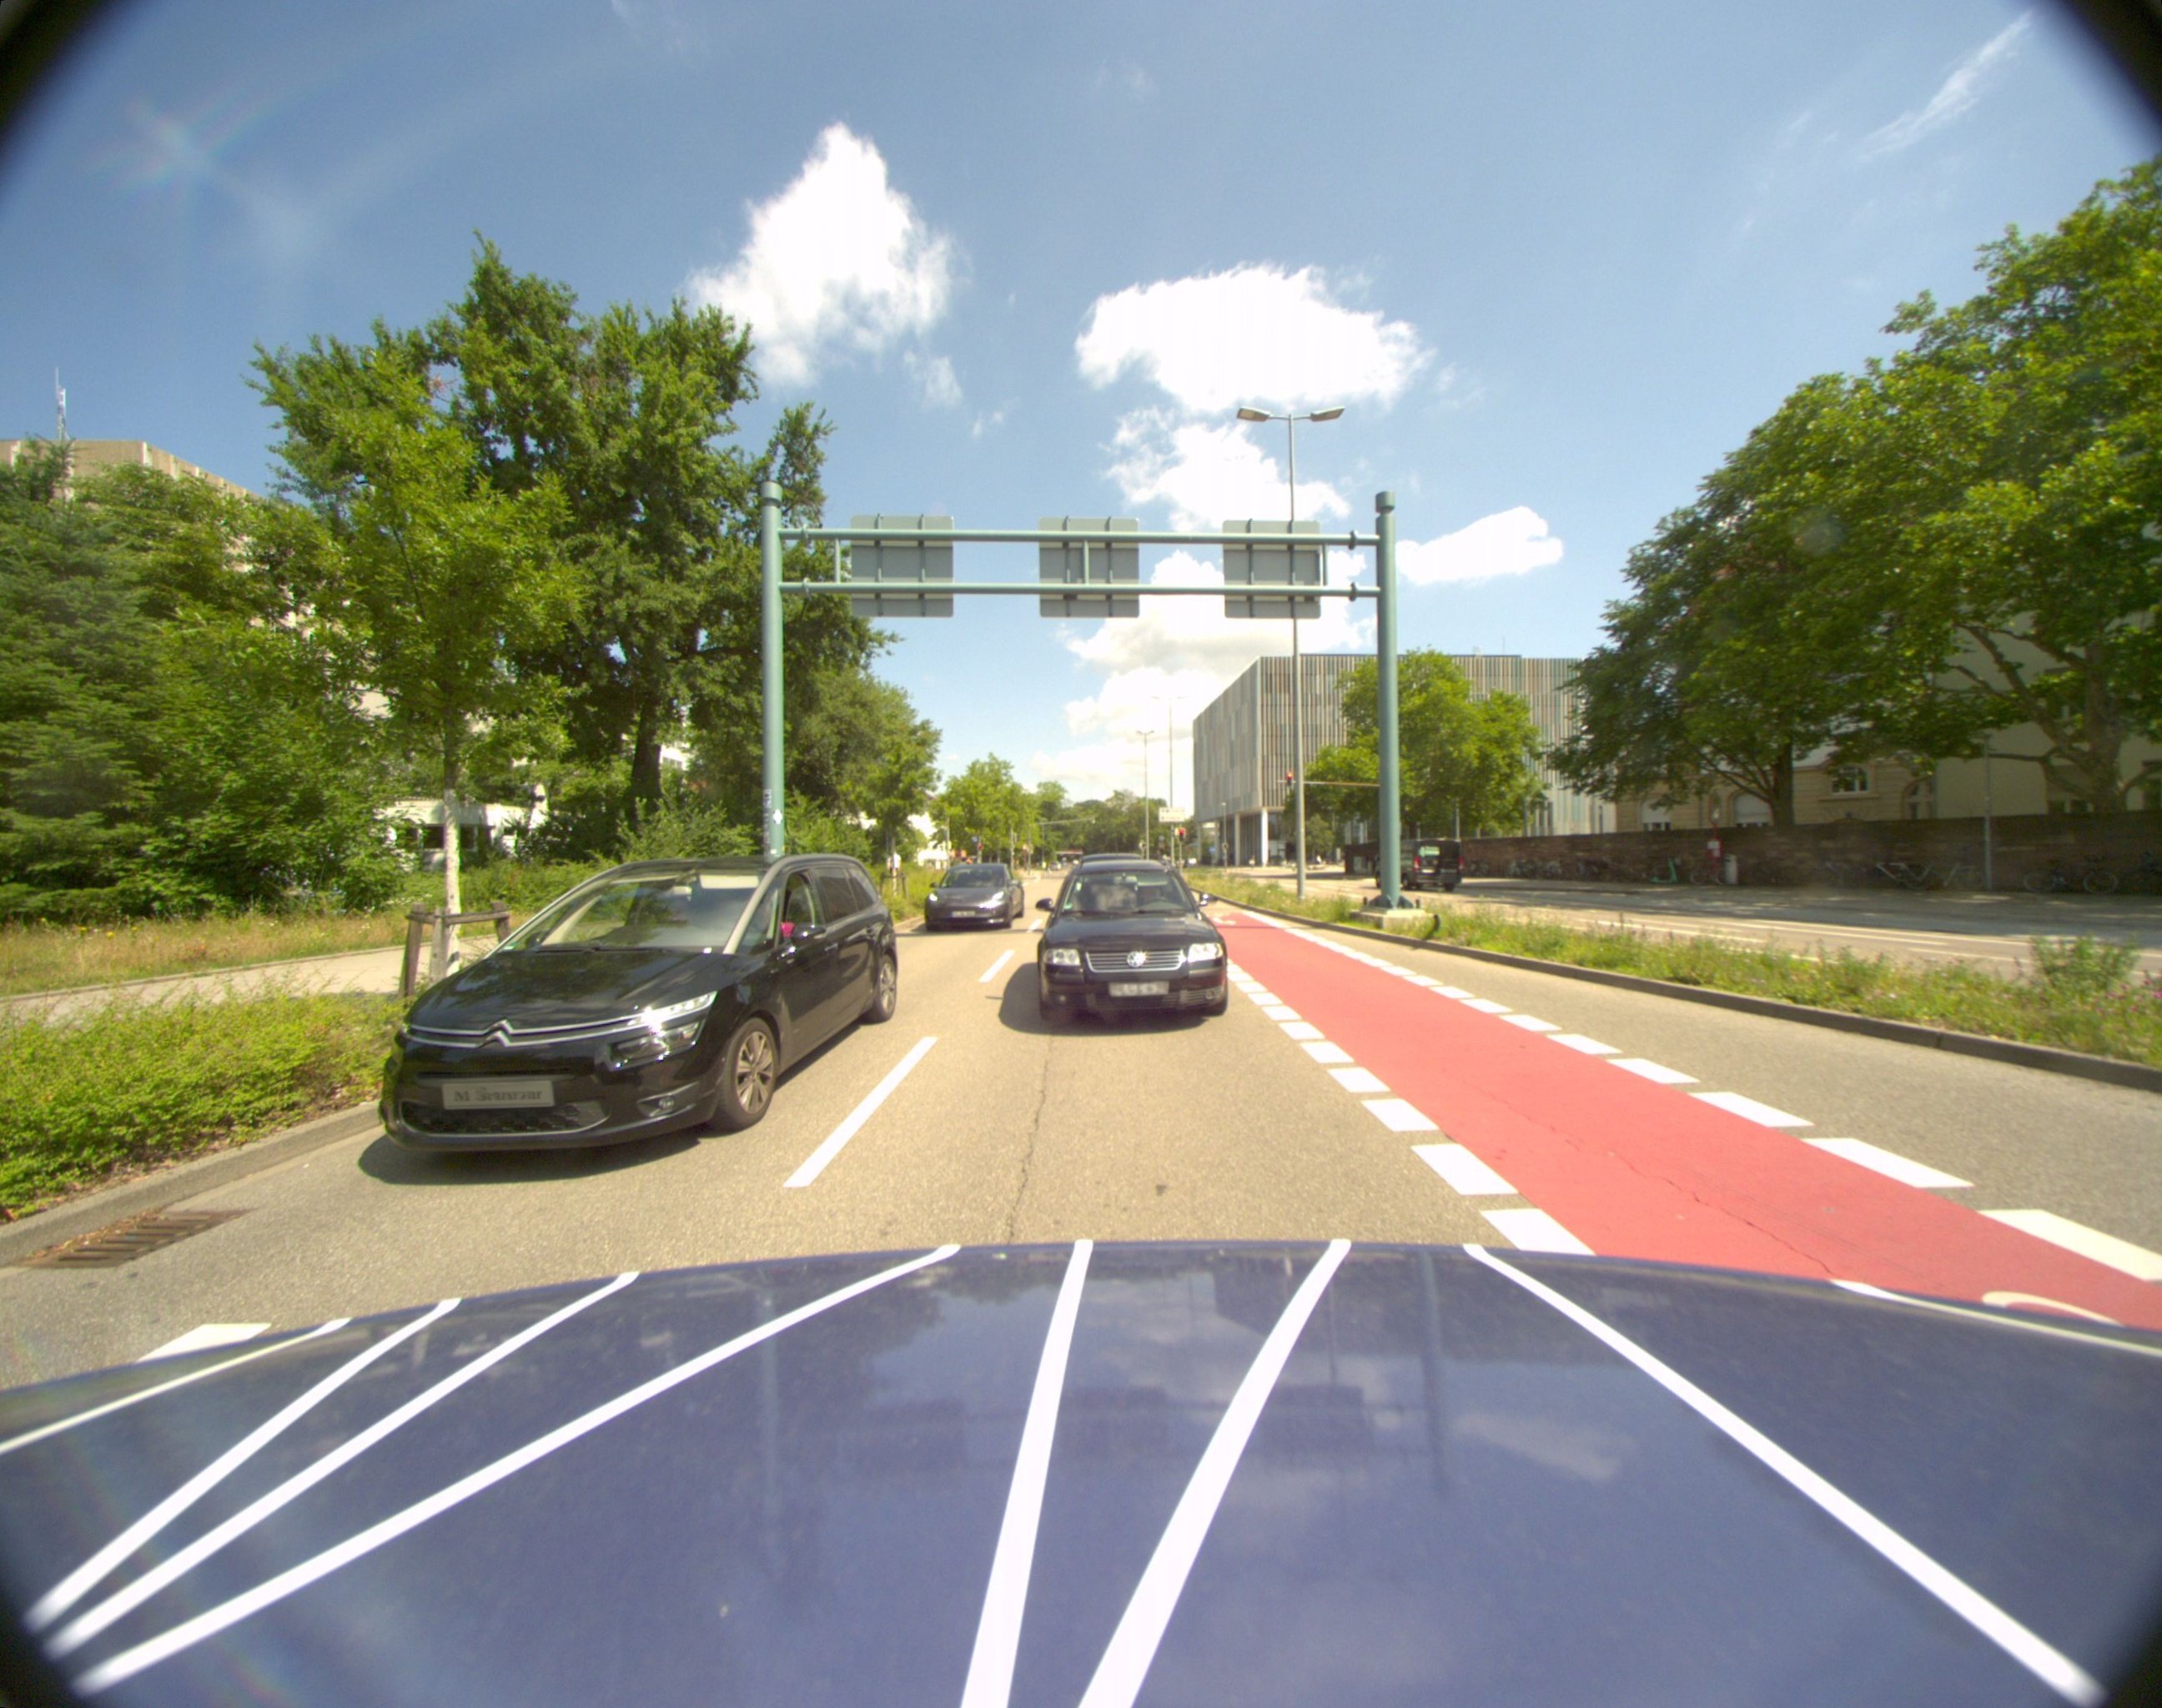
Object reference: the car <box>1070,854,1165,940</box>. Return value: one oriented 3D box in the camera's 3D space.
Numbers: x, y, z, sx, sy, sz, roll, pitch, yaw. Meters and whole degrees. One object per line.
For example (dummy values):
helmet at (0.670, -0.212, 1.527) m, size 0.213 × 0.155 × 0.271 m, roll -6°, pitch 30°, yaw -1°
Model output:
car at (0.726, 0.811, 16.603) m, size 1.723 × 1.545 × 4.594 m, roll -3°, pitch 0°, yaw 1°

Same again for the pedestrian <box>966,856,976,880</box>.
pedestrian at (-8.363, 1.053, 57.814) m, size 0.640 × 1.754 × 0.885 m, roll -1°, pitch 0°, yaw -11°

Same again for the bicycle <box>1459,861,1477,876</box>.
bicycle at (22.809, 0.849, 44.775) m, size 0.265 × 0.826 × 1.235 m, roll -1°, pitch 0°, yaw -11°

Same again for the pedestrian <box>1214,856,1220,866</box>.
pedestrian at (19.741, 0.955, 110.332) m, size 0.696 × 1.445 × 0.689 m, roll -1°, pitch 0°, yaw 7°

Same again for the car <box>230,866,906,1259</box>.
car at (-2.768, 0.955, 5.575) m, size 1.816 × 1.598 × 4.479 m, roll -3°, pitch 0°, yaw 1°

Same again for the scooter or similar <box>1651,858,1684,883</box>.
scooter or similar at (24.577, 0.695, 31.854) m, size 0.266 × 1.014 × 1.140 m, roll -1°, pitch 0°, yaw -22°

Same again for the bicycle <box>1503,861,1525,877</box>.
bicycle at (22.855, 0.798, 40.088) m, size 0.265 × 0.826 × 1.234 m, roll -1°, pitch 0°, yaw -11°

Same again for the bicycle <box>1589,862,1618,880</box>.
bicycle at (24.052, 0.785, 34.992) m, size 0.265 × 0.826 × 1.235 m, roll -1°, pitch 0°, yaw -11°

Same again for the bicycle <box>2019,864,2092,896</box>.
bicycle at (26.607, 0.696, 20.769) m, size 0.265 × 0.826 × 1.234 m, roll -1°, pitch 0°, yaw -13°

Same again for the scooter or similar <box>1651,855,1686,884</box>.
scooter or similar at (23.914, 0.624, 30.933) m, size 0.265 × 1.182 × 1.234 m, roll -1°, pitch 0°, yaw -11°

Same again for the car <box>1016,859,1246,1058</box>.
car at (0.423, 0.826, 8.211) m, size 1.723 × 1.472 × 4.594 m, roll -3°, pitch 0°, yaw 1°

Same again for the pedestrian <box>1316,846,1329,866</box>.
pedestrian at (24.802, 0.188, 78.092) m, size 0.994 × 2.002 × 0.864 m, roll -1°, pitch 0°, yaw 1°

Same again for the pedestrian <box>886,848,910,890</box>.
pedestrian at (-9.147, 0.747, 38.022) m, size 0.845 × 2.026 × 0.902 m, roll -1°, pitch 0°, yaw 6°

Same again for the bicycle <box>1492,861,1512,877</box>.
bicycle at (23.156, 0.820, 41.807) m, size 0.265 × 0.826 × 1.234 m, roll -1°, pitch 0°, yaw -11°

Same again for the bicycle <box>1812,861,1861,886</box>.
bicycle at (25.686, 0.654, 25.855) m, size 0.265 × 0.826 × 1.235 m, roll -1°, pitch 0°, yaw -11°

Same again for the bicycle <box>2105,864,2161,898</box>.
bicycle at (27.130, 0.679, 19.350) m, size 0.265 × 0.826 × 1.234 m, roll -1°, pitch 0°, yaw -13°

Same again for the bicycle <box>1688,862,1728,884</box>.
bicycle at (24.821, 0.741, 30.084) m, size 0.265 × 0.826 × 1.233 m, roll -1°, pitch 0°, yaw -21°

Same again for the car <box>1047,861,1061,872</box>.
car at (-4.323, 1.958, 122.148) m, size 1.816 × 1.598 × 4.479 m, roll -3°, pitch 0°, yaw 1°

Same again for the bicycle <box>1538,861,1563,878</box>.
bicycle at (23.188, 0.752, 37.530) m, size 0.265 × 0.826 × 1.234 m, roll -1°, pitch 0°, yaw -11°

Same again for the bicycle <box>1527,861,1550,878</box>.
bicycle at (23.471, 0.790, 39.001) m, size 0.265 × 0.826 × 1.235 m, roll -1°, pitch 0°, yaw -11°

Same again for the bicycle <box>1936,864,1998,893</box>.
bicycle at (26.244, 0.722, 22.533) m, size 0.265 × 0.826 × 1.235 m, roll -1°, pitch 0°, yaw -11°

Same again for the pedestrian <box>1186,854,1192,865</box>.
pedestrian at (16.817, 0.798, 118.607) m, size 0.793 × 1.681 × 0.706 m, roll -1°, pitch 0°, yaw 1°

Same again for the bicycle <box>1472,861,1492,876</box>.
bicycle at (22.930, 0.817, 43.434) m, size 0.265 × 0.826 × 1.234 m, roll -1°, pitch 0°, yaw -11°

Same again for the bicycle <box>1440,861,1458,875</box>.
bicycle at (22.518, 0.836, 46.517) m, size 0.265 × 0.826 × 1.235 m, roll -1°, pitch 0°, yaw -11°

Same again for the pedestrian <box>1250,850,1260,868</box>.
pedestrian at (20.178, 0.566, 88.014) m, size 0.864 × 2.002 × 0.995 m, roll -1°, pitch 0°, yaw -1°

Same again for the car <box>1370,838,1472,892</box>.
car at (14.799, 0.447, 33.436) m, size 2.153 × 2.162 × 5.018 m, roll 1°, pitch 0°, yaw 0°

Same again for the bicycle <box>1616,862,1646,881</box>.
bicycle at (24.150, 0.773, 33.374) m, size 0.265 × 0.826 × 1.235 m, roll -1°, pitch 0°, yaw -11°

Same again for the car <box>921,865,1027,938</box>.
car at (-2.359, 1.012, 17.738) m, size 1.806 × 1.361 × 4.157 m, roll -1°, pitch 1°, yaw 1°

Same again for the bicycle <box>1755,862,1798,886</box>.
bicycle at (25.191, 0.708, 27.524) m, size 0.265 × 0.826 × 1.235 m, roll -1°, pitch 0°, yaw -11°

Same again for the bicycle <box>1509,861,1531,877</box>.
bicycle at (23.362, 0.792, 40.412) m, size 0.265 × 0.826 × 1.234 m, roll -1°, pitch 0°, yaw -11°

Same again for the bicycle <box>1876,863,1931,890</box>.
bicycle at (26.004, 0.701, 24.047) m, size 0.265 × 0.826 × 1.235 m, roll -1°, pitch 0°, yaw -11°

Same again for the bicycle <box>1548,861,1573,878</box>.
bicycle at (23.659, 0.751, 37.509) m, size 0.265 × 0.826 × 1.235 m, roll -1°, pitch 0°, yaw -11°

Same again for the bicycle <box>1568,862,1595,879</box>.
bicycle at (23.871, 0.782, 36.246) m, size 0.265 × 0.826 × 1.235 m, roll -1°, pitch 0°, yaw -11°
